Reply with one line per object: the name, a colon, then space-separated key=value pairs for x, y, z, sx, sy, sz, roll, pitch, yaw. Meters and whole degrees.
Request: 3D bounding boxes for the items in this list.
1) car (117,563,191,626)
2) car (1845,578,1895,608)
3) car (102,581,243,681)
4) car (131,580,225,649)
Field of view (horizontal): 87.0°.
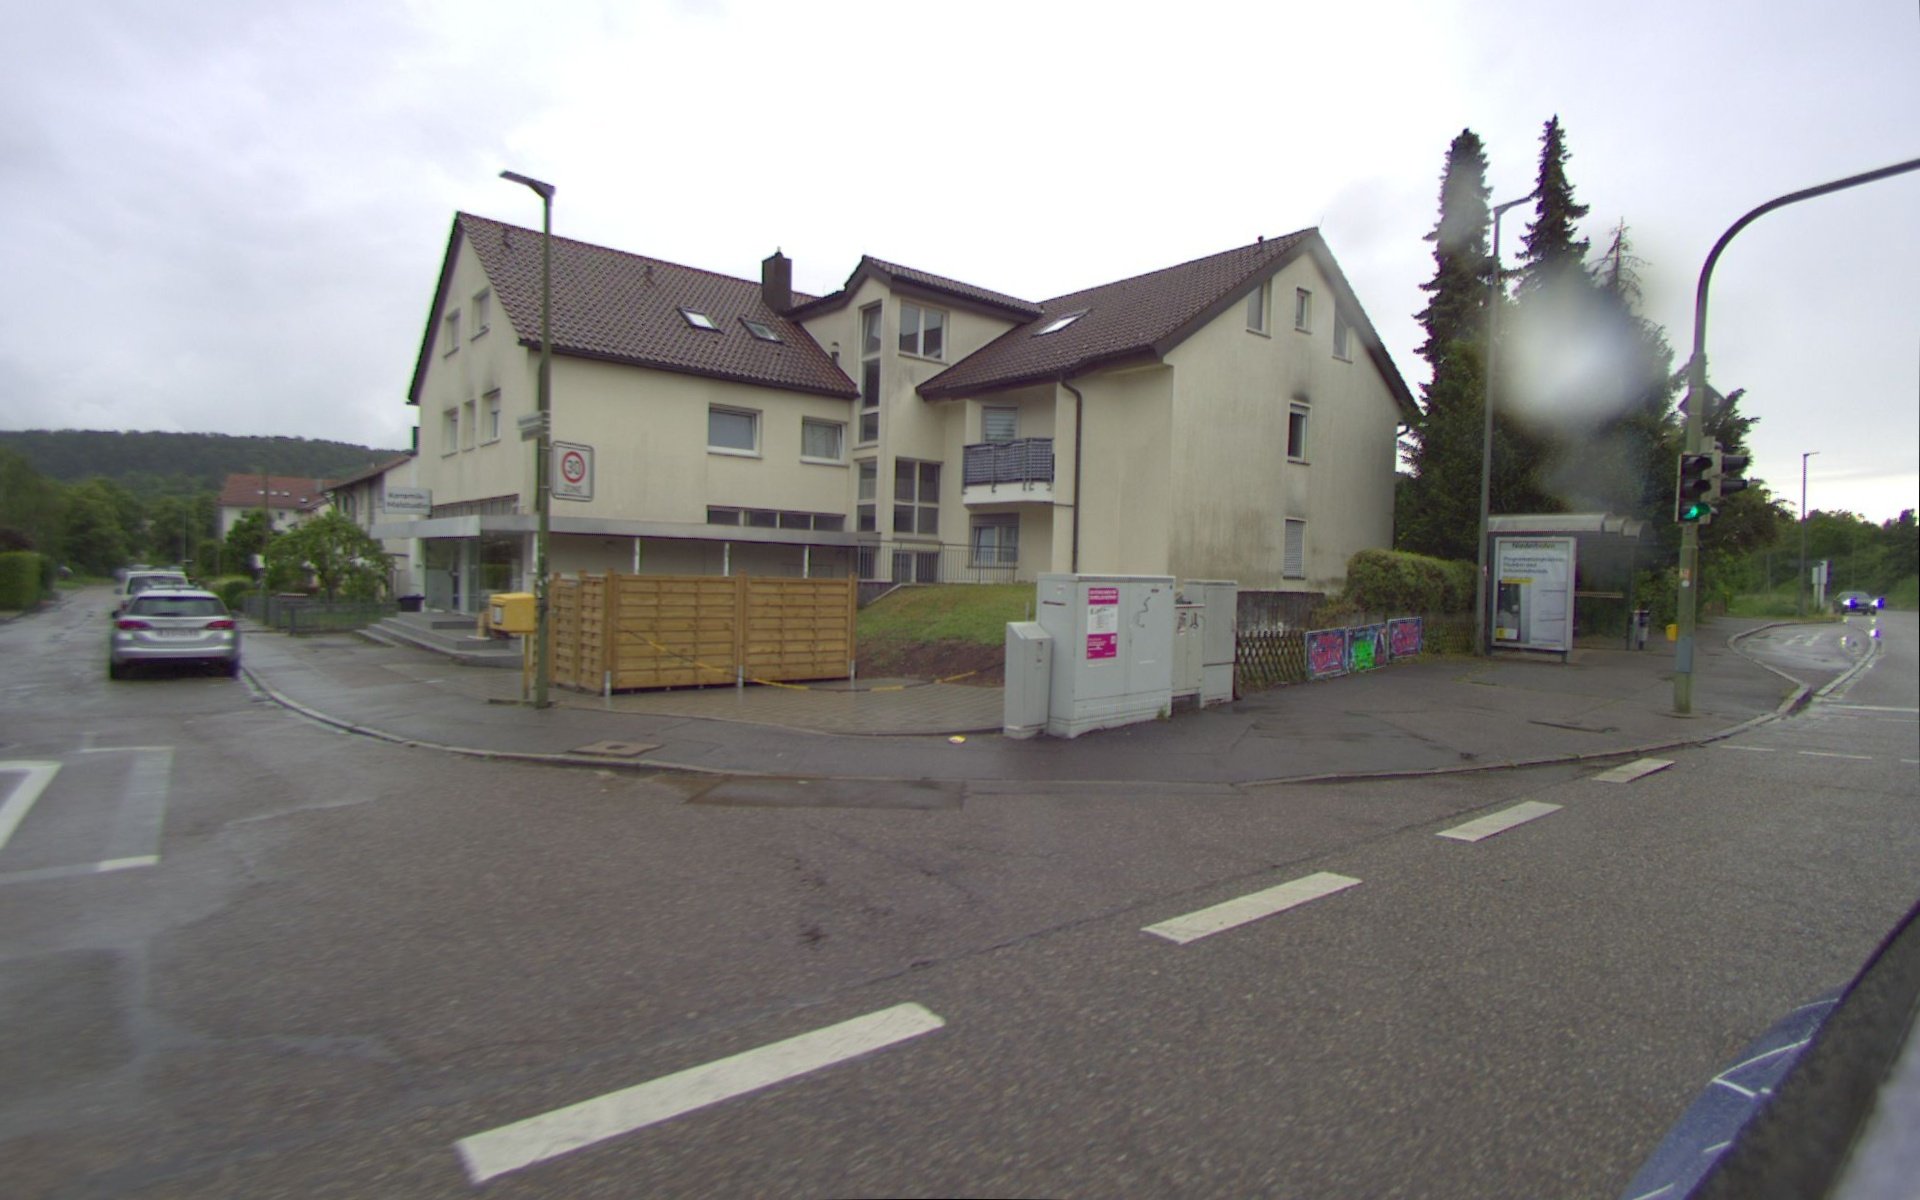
car: x=-26.836 y=-0.252 z=33.632 sx=1.812 sy=1.929 sz=4.618 roll=-1 pitch=2 yaw=-40
car: x=59.196 y=-0.468 z=65.881 sx=1.989 sy=1.864 sz=3.947 roll=2 pitch=1 yaw=37
car: x=-13.961 y=0.448 z=17.885 sx=1.788 sy=1.473 sz=3.996 roll=-1 pitch=2 yaw=-40
car: x=-20.371 y=0.295 z=26.299 sx=1.788 sy=1.574 sz=3.996 roll=-1 pitch=2 yaw=-40
